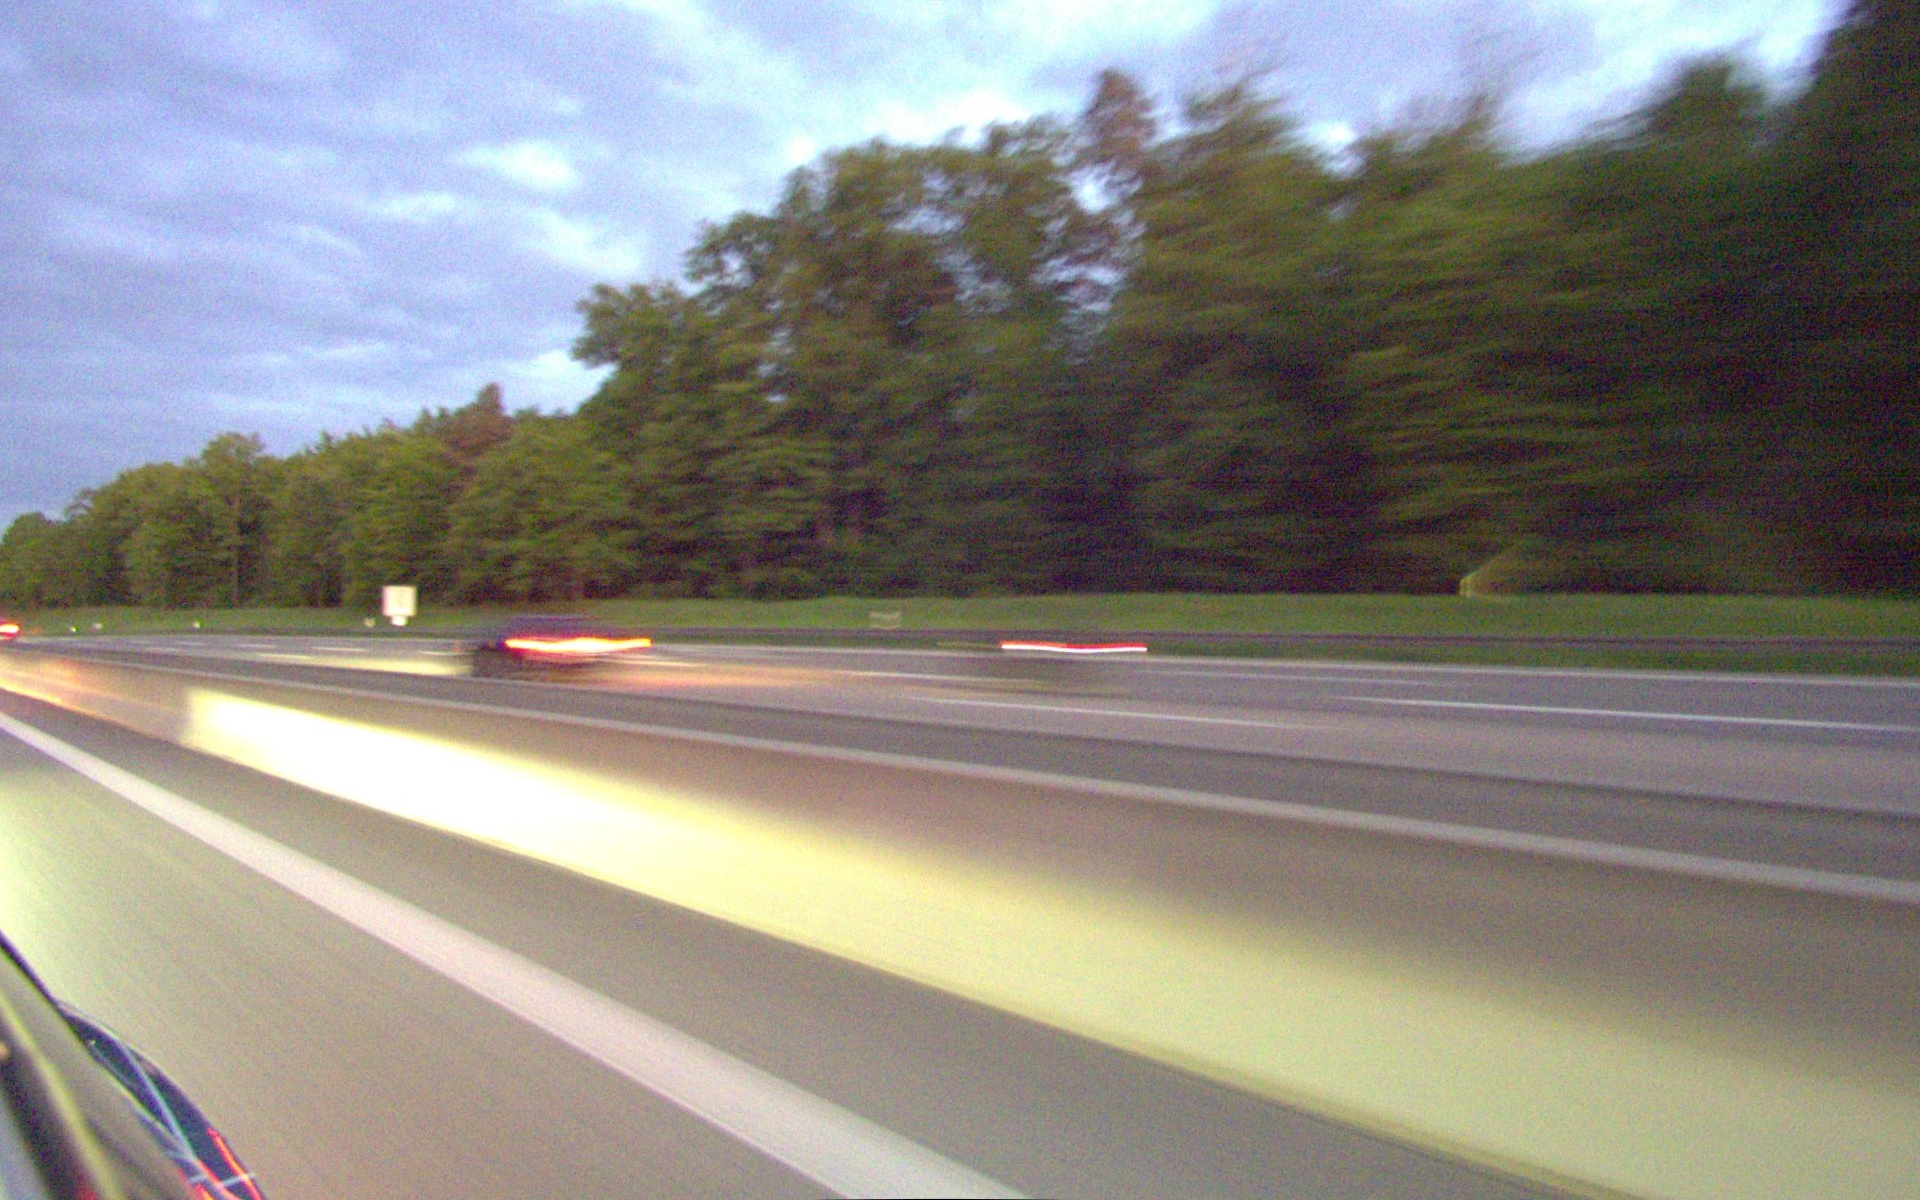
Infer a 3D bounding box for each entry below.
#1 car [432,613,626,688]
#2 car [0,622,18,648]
[{"bbox_3d":[-9.470,1.030,21.972,5.360,1.440,1.737,-1,-1,41],"label":"car"},{"bbox_3d":[-64.591,2.327,67.691,5.111,1.651,1.972,-2,-1,43],"label":"car"}]
